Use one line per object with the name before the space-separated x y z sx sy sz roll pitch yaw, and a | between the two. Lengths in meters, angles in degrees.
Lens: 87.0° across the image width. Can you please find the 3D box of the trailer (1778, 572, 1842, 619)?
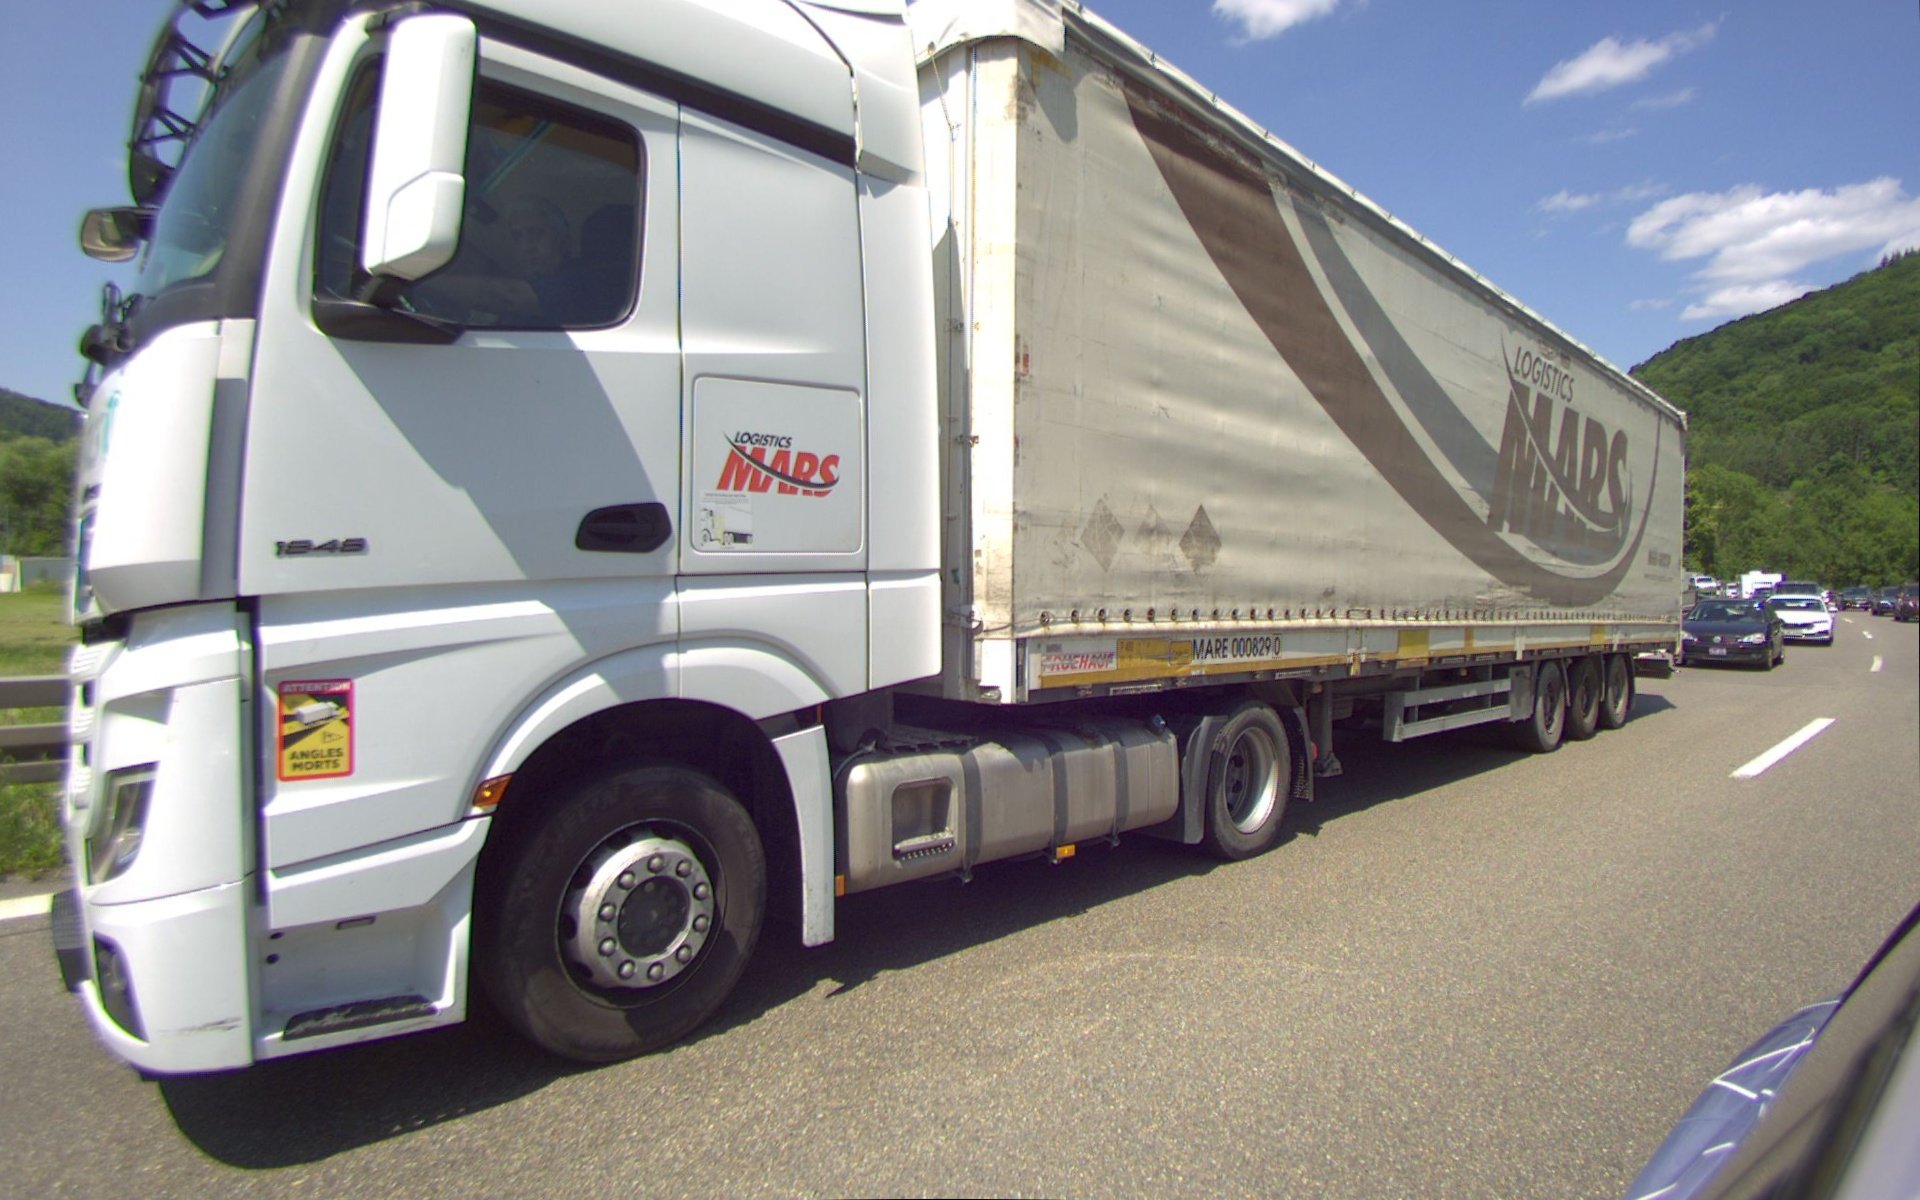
trailer | 38.132 -0.235 45.360 1.992 1.994 3.939 -1 0 43

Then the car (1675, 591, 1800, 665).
car | 16.718 0.534 21.695 1.692 1.440 3.776 0 0 45

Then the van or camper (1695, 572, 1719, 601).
van or camper | 81.519 -1.506 110.436 1.898 3.065 4.813 1 1 35

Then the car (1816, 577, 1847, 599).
car | 70.418 -0.951 81.820 1.521 1.658 3.376 -2 -1 35

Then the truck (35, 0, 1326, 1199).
truck | -0.768 -0.718 5.075 5.660 4.119 2.721 -1 1 -44

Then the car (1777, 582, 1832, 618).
car | 35.563 -0.017 42.576 1.485 1.400 3.679 4 3 44

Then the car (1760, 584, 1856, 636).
car | 25.265 0.272 30.105 1.903 1.448 3.662 0 0 45

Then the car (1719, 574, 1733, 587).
car | 93.617 -2.347 123.677 1.239 1.497 2.920 -2 -1 38

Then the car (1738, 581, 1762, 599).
car | 71.314 -0.864 91.380 1.690 1.552 3.630 -2 -1 38

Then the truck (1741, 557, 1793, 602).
truck | 60.046 -1.487 75.402 2.588 3.147 6.769 -2 -1 36

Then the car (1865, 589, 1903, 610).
car | 50.845 -0.051 55.702 1.486 1.123 3.166 0 0 42

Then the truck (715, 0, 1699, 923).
truck | 4.249 -0.799 9.991 13.516 4.118 2.728 -1 1 -44

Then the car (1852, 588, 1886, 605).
car | 60.911 -0.250 67.864 1.484 1.123 3.169 0 0 39
